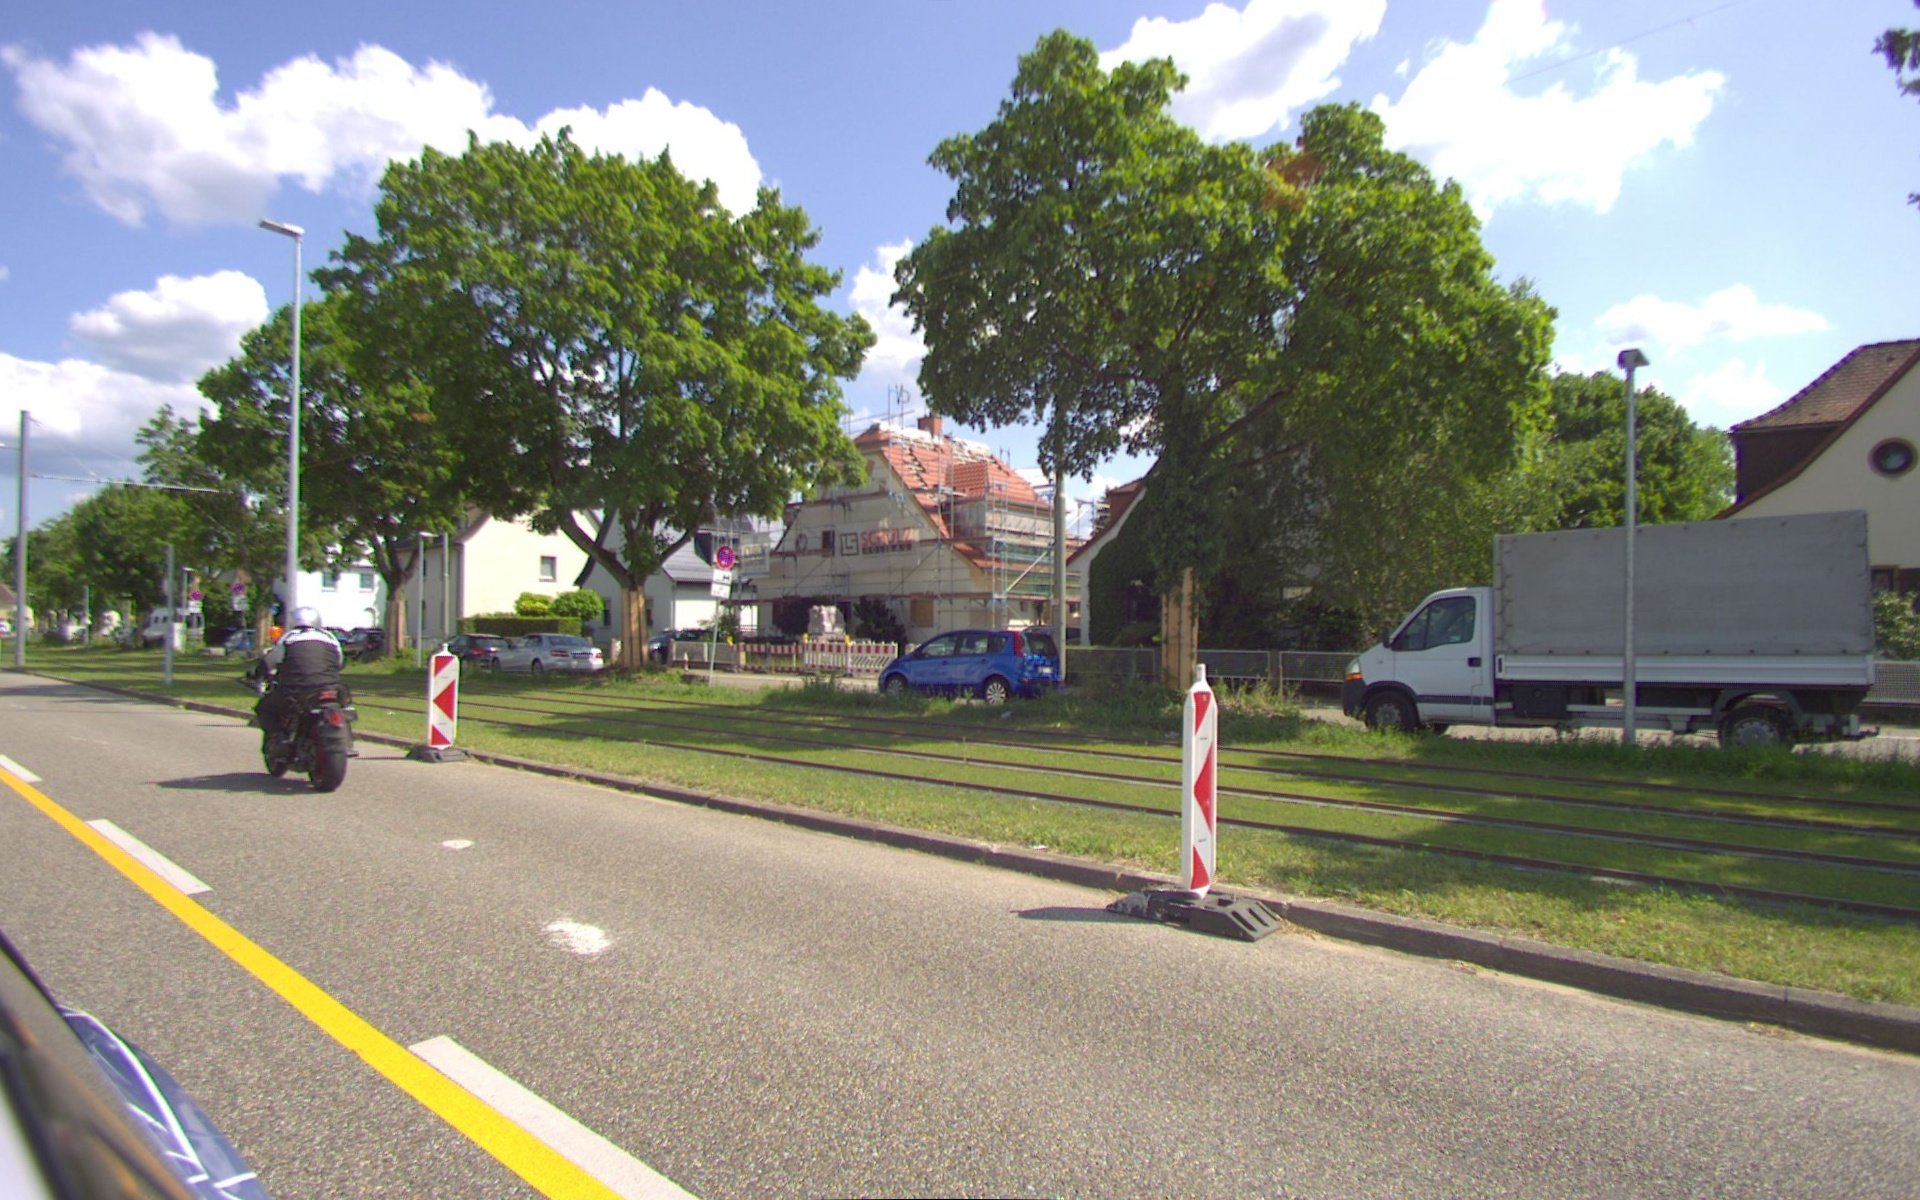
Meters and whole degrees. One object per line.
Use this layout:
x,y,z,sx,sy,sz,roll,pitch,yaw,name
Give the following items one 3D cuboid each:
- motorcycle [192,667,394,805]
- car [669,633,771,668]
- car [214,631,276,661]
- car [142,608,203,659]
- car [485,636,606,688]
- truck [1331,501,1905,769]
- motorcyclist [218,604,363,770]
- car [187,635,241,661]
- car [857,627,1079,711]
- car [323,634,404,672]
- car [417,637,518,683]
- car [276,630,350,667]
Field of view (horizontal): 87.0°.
-6.033,1.149,9.102,2.242,1.029,0.860,-2,-3,39,motorcycle
-10.923,2.290,46.205,1.702,1.497,4.345,-3,-3,41,car
-37.490,2.425,53.044,4.403,1.497,1.680,-3,-3,41,car
-49.513,2.158,63.600,5.080,3.061,2.108,-3,-3,41,car
-13.102,1.929,31.839,4.520,1.497,1.765,-4,-3,42,car
8.303,0.453,13.397,5.971,2.802,2.242,-2,-3,41,truck
-6.013,0.751,9.097,0.799,1.388,0.860,-2,-3,38,motorcyclist
-44.474,2.872,60.324,4.403,1.497,1.680,-3,-3,41,car
0.063,1.349,20.267,4.403,1.497,1.680,-3,-3,41,car
-25.176,2.250,42.645,4.403,1.497,1.680,-3,-3,41,car
-17.494,2.115,35.868,4.403,1.497,1.680,-3,-3,41,car
-29.491,2.222,46.068,4.403,1.584,1.680,-3,-3,41,car
